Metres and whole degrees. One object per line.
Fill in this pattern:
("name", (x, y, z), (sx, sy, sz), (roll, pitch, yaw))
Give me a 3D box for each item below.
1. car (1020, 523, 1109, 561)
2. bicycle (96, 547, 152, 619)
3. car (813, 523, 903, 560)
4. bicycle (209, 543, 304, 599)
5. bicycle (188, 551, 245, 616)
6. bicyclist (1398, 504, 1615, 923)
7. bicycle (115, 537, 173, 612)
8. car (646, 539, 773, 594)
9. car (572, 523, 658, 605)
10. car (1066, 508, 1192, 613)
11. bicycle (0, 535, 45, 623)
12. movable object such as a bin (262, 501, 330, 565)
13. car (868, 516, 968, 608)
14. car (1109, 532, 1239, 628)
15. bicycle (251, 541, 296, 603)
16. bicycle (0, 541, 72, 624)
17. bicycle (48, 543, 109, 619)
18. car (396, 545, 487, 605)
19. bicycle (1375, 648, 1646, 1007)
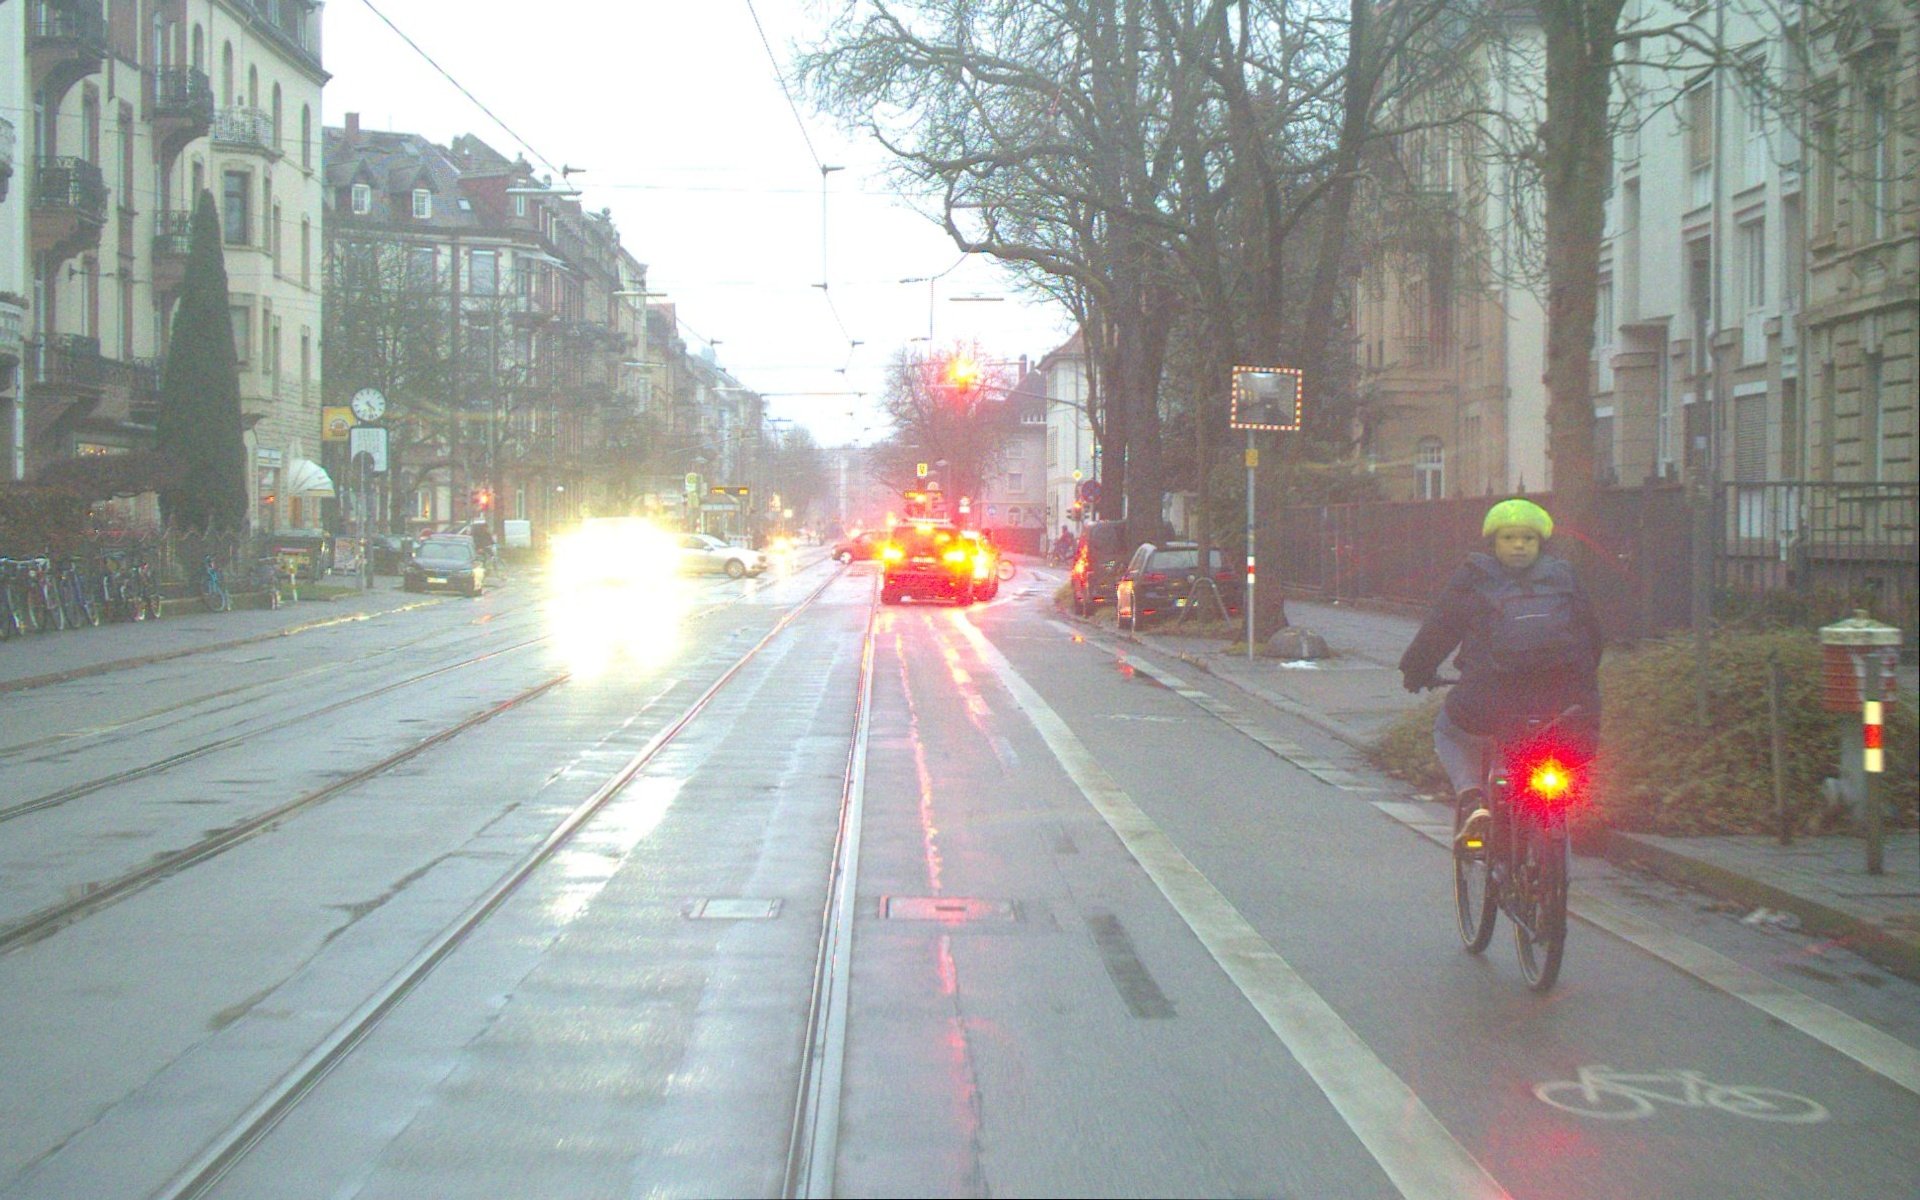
("car", (4.916, -2.734, 161.053), (3.988, 1.711, 1.903), (0, 2, 8))
("bicycle", (-12.205, -0.255, 50.194), (0.692, 1.027, 1.597), (-1, 1, -10))
("car", (-4.812, -2.756, 161.832), (3.988, 1.711, 1.903), (0, 2, 7))
("bicycle", (-13.970, -0.572, 68.291), (1.804, 1.077, 0.616), (-1, 2, -8))
("bicycle", (-12.347, -0.285, 57.142), (0.625, 1.014, 1.806), (-1, 2, -3))
("bicyclist", (1.945, 0.383, 12.314), (0.656, 1.441, 0.849), (0, 2, 1))
("bicycle", (-12.347, -0.399, 52.079), (0.486, 1.096, 1.931), (-1, 1, -3))
("car", (-8.170, -1.114, 112.199), (3.987, 1.722, 1.740), (0, 2, 1))
("car", (-8.701, -0.945, 87.031), (2.045, 1.915, 5.101), (-1, 2, -4))
("car", (3.230, -0.804, 66.611), (1.993, 1.894, 5.028), (0, 2, -2))
("bicycle", (-12.039, -0.254, 43.528), (0.692, 1.027, 1.595), (-1, -2, -8))
("movable object such as a bin", (-16.183, -1.636, 83.821), (1.409, 1.525, 1.365), (0, 2, -1))
("car", (-0.946, -0.818, 74.335), (1.993, 1.890, 4.759), (1, 0, -2))
("car", (3.399, -0.350, 55.170), (1.677, 1.455, 4.043), (0, 2, -2))
("bicycle", (-12.474, -0.512, 62.486), (0.614, 1.077, 1.811), (-1, 2, -6))
("bicycle", (-12.205, -0.223, 45.385), (0.692, 1.027, 1.596), (-1, -2, -6))
("bicycle", (-12.182, -0.258, 47.527), (0.692, 1.027, 1.597), (-1, 0, -10))
("car", (-13.483, -0.661, 89.499), (1.833, 1.442, 4.001), (0, 2, -1))
("bicycle", (1.953, 0.772, 12.434), (0.707, 1.093, 2.029), (0, 2, 2))
